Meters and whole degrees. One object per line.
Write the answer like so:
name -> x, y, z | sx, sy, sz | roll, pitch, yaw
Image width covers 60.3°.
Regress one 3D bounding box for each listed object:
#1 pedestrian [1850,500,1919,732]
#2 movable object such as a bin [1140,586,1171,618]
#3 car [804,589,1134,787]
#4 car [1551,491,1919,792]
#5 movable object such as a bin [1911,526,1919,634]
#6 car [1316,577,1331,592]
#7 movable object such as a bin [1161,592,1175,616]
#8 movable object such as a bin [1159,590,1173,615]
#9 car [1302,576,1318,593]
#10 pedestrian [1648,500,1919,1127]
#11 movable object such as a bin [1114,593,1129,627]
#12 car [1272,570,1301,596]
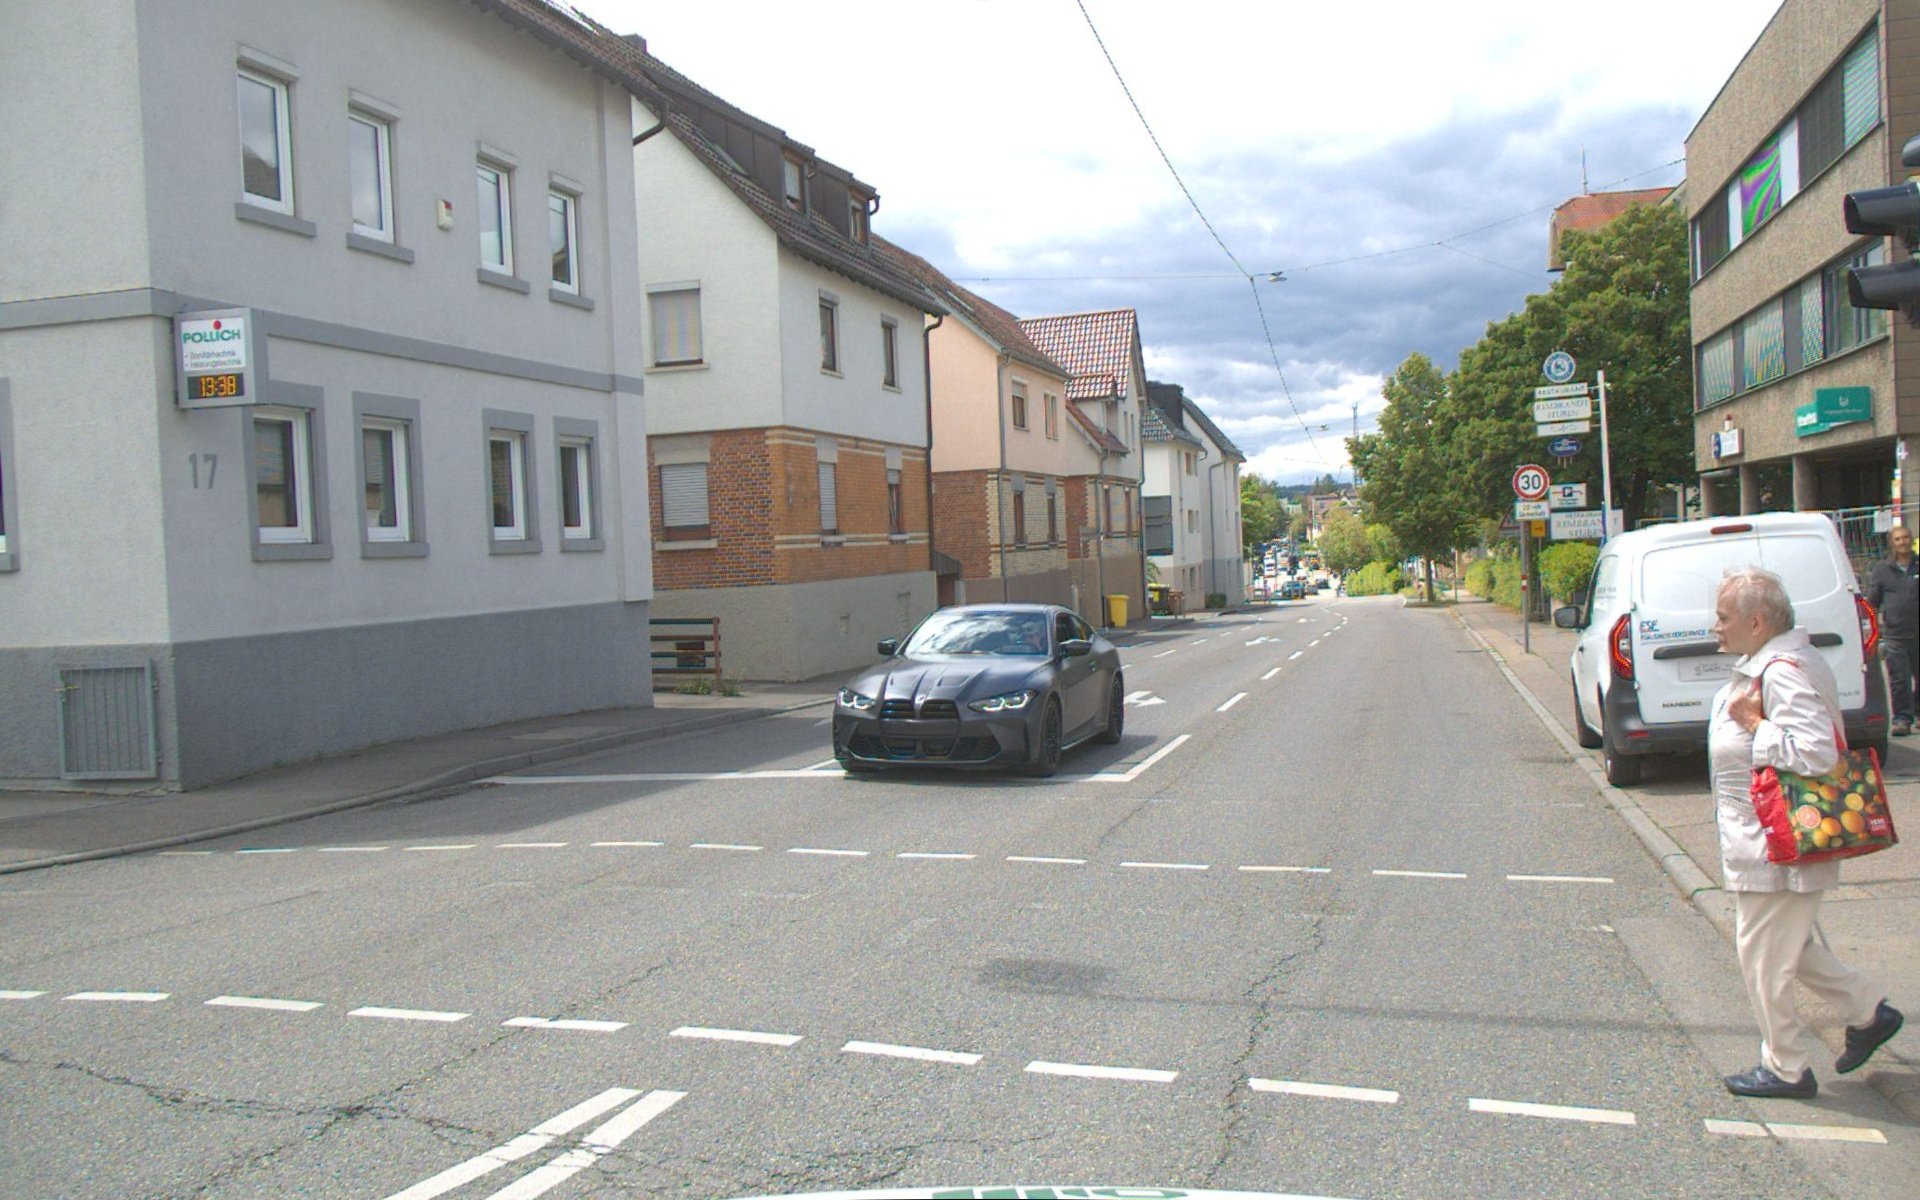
pedestrian -> 7.788, 0.113, 13.403 | 0.825, 1.834, 0.651 | -2, 0, 15
movable object such as a bin -> 8.561, 0.071, 72.527 | 1.254, 1.332, 0.817 | -2, 0, 10
car -> 0.283, 0.677, 15.322 | 1.951, 1.482, 4.621 | 0, 1, 15
car -> 5.886, 0.251, 13.041 | 1.871, 1.825, 4.494 | -6, 0, 16
movable object such as a bin -> 14.264, -0.298, 23.121 | 1.451, 1.518, 1.077 | -3, 2, 19
car -> 52.043, -2.208, 236.701 | 1.951, 2.049, 4.003 | -3, -1, 11
movable object such as a bin -> 9.244, 0.163, 73.511 | 0.520, 1.048, 0.455 | -2, 0, 14
movable object such as a bin -> 9.184, 0.108, 73.713 | 0.520, 1.048, 0.455 | -2, 0, 14
car -> 46.898, -2.088, 221.711 | 1.951, 2.049, 4.003 | -3, -1, 11
pedestrian -> 2.572, 0.566, 4.845 | 0.854, 1.665, 0.836 | -5, 0, 27
movable object such as a bin -> 5.554, 0.342, 56.805 | 0.422, 1.147, 0.299 | -3, 0, 14
car -> 27.013, -1.390, 136.737 | 1.951, 2.049, 4.003 | -2, 0, 6
